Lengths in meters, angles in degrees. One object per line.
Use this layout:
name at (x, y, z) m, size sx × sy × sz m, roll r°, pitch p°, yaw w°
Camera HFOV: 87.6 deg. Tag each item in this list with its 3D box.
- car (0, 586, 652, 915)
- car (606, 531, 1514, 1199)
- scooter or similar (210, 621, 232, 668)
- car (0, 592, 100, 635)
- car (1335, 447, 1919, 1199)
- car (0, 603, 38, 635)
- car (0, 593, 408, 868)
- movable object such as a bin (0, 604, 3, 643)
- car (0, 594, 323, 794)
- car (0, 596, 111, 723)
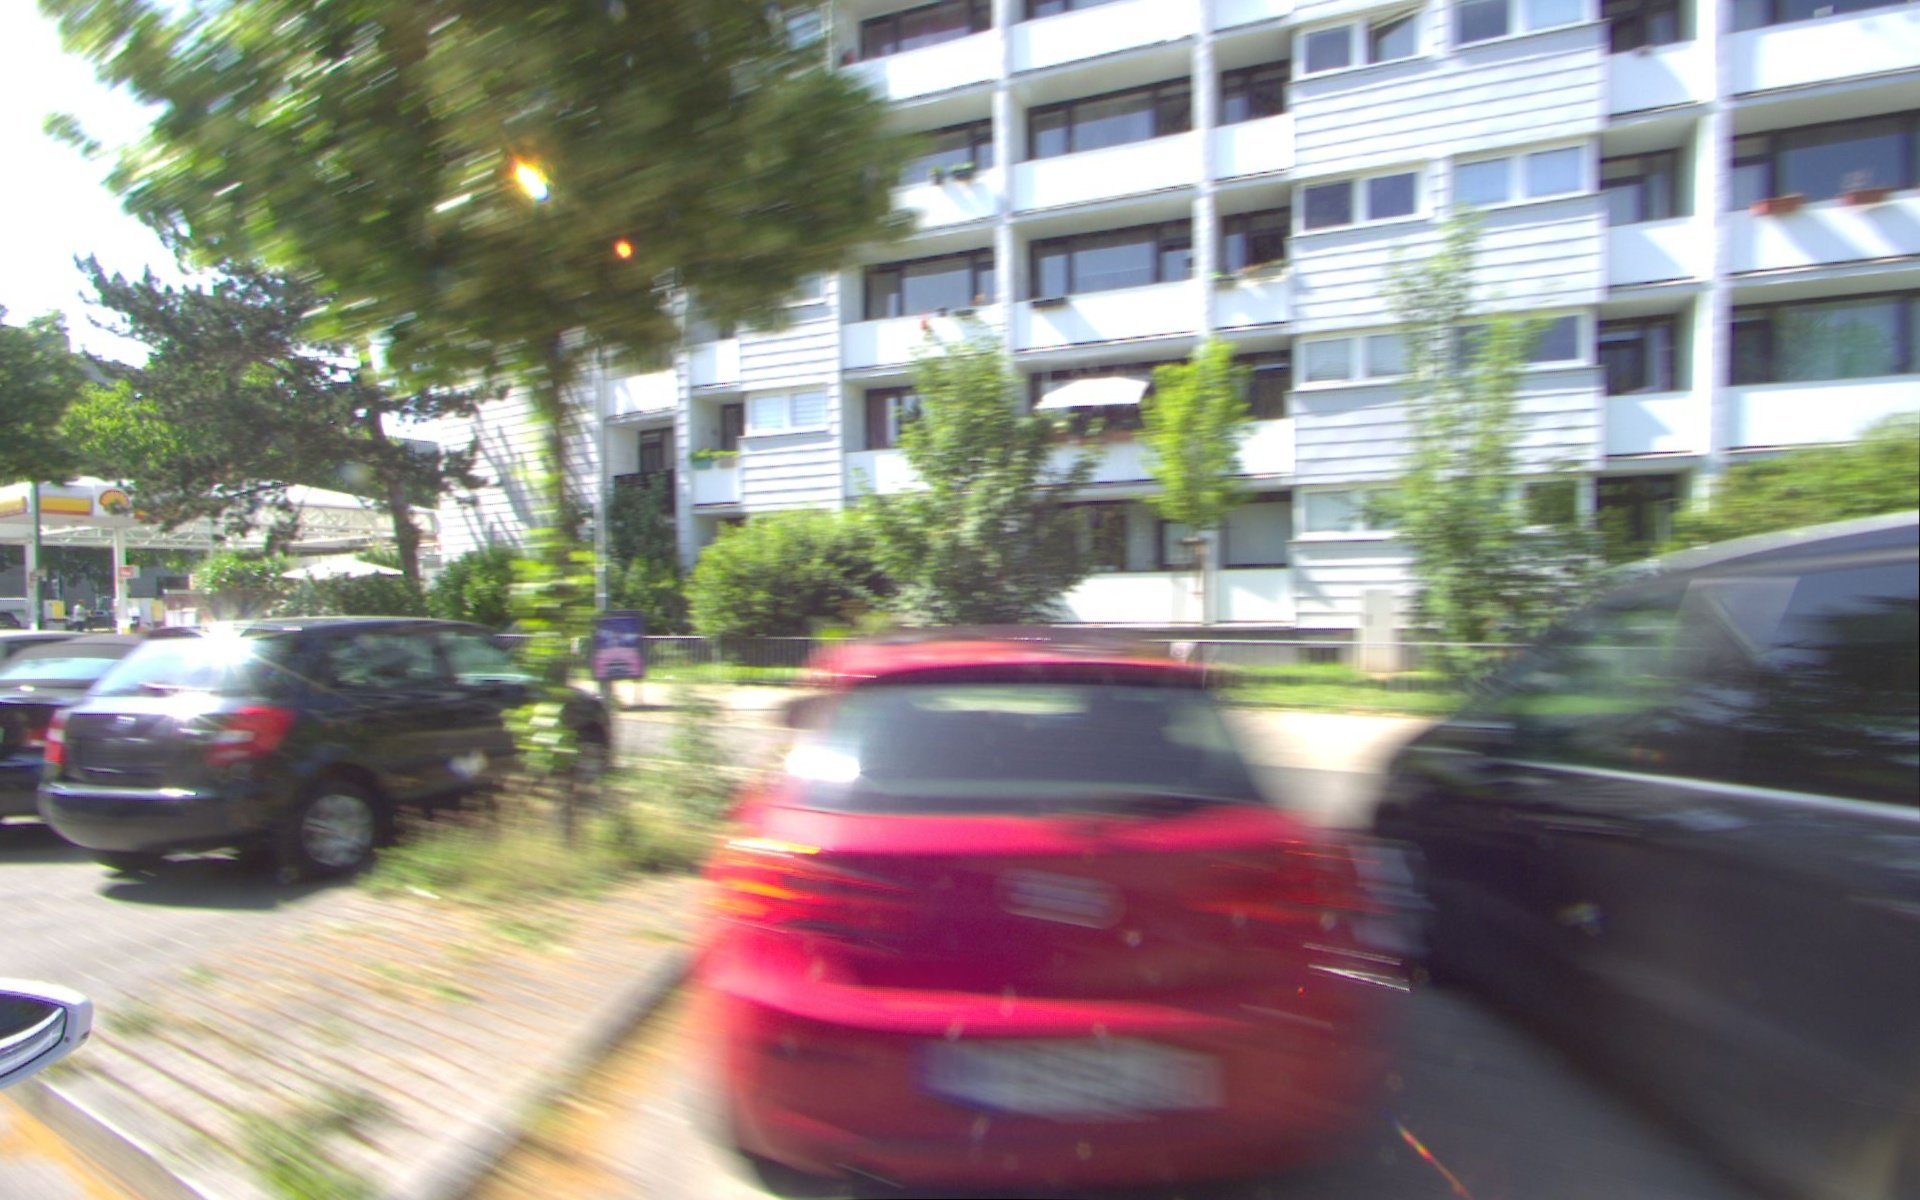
car at (-4.074, 0.756, 7.196) m, size 1.767 × 1.662 × 3.996 m, roll 0°, pitch 0°, yaw 13°
car at (0.173, 0.709, 4.056) m, size 1.844 × 1.662 × 3.999 m, roll -1°, pitch 0°, yaw -1°
scooter or similar at (-18.976, 1.124, 25.699) m, size 0.946 × 1.182 × 0.229 m, roll 0°, pitch 1°, yaw 40°
car at (-62.393, 0.873, 66.504) m, size 2.858 × 2.710 × 7.419 m, roll 1°, pitch 1°, yaw 29°
car at (2.687, 0.548, 2.358) m, size 2.004 × 1.662 × 4.119 m, roll -1°, pitch 0°, yaw -1°
car at (-44.851, 0.885, 47.293) m, size 3.602 × 1.417 × 1.641 m, roll -1°, pitch 1°, yaw 43°
car at (-6.550, 0.779, 8.100) m, size 1.719 × 1.662 × 3.998 m, roll 0°, pitch 1°, yaw 4°
movable object such as a bin at (-35.946, 0.797, 36.371) m, size 1.375 × 1.614 × 1.305 m, roll 0°, pitch 3°, yaw 30°
car at (-8.523, 0.785, 9.467) m, size 1.722 × 1.662 × 3.991 m, roll 0°, pitch 1°, yaw 20°
car at (-13.580, 0.804, 12.649) m, size 1.719 × 1.682 × 4.745 m, roll -1°, pitch 0°, yaw -1°
